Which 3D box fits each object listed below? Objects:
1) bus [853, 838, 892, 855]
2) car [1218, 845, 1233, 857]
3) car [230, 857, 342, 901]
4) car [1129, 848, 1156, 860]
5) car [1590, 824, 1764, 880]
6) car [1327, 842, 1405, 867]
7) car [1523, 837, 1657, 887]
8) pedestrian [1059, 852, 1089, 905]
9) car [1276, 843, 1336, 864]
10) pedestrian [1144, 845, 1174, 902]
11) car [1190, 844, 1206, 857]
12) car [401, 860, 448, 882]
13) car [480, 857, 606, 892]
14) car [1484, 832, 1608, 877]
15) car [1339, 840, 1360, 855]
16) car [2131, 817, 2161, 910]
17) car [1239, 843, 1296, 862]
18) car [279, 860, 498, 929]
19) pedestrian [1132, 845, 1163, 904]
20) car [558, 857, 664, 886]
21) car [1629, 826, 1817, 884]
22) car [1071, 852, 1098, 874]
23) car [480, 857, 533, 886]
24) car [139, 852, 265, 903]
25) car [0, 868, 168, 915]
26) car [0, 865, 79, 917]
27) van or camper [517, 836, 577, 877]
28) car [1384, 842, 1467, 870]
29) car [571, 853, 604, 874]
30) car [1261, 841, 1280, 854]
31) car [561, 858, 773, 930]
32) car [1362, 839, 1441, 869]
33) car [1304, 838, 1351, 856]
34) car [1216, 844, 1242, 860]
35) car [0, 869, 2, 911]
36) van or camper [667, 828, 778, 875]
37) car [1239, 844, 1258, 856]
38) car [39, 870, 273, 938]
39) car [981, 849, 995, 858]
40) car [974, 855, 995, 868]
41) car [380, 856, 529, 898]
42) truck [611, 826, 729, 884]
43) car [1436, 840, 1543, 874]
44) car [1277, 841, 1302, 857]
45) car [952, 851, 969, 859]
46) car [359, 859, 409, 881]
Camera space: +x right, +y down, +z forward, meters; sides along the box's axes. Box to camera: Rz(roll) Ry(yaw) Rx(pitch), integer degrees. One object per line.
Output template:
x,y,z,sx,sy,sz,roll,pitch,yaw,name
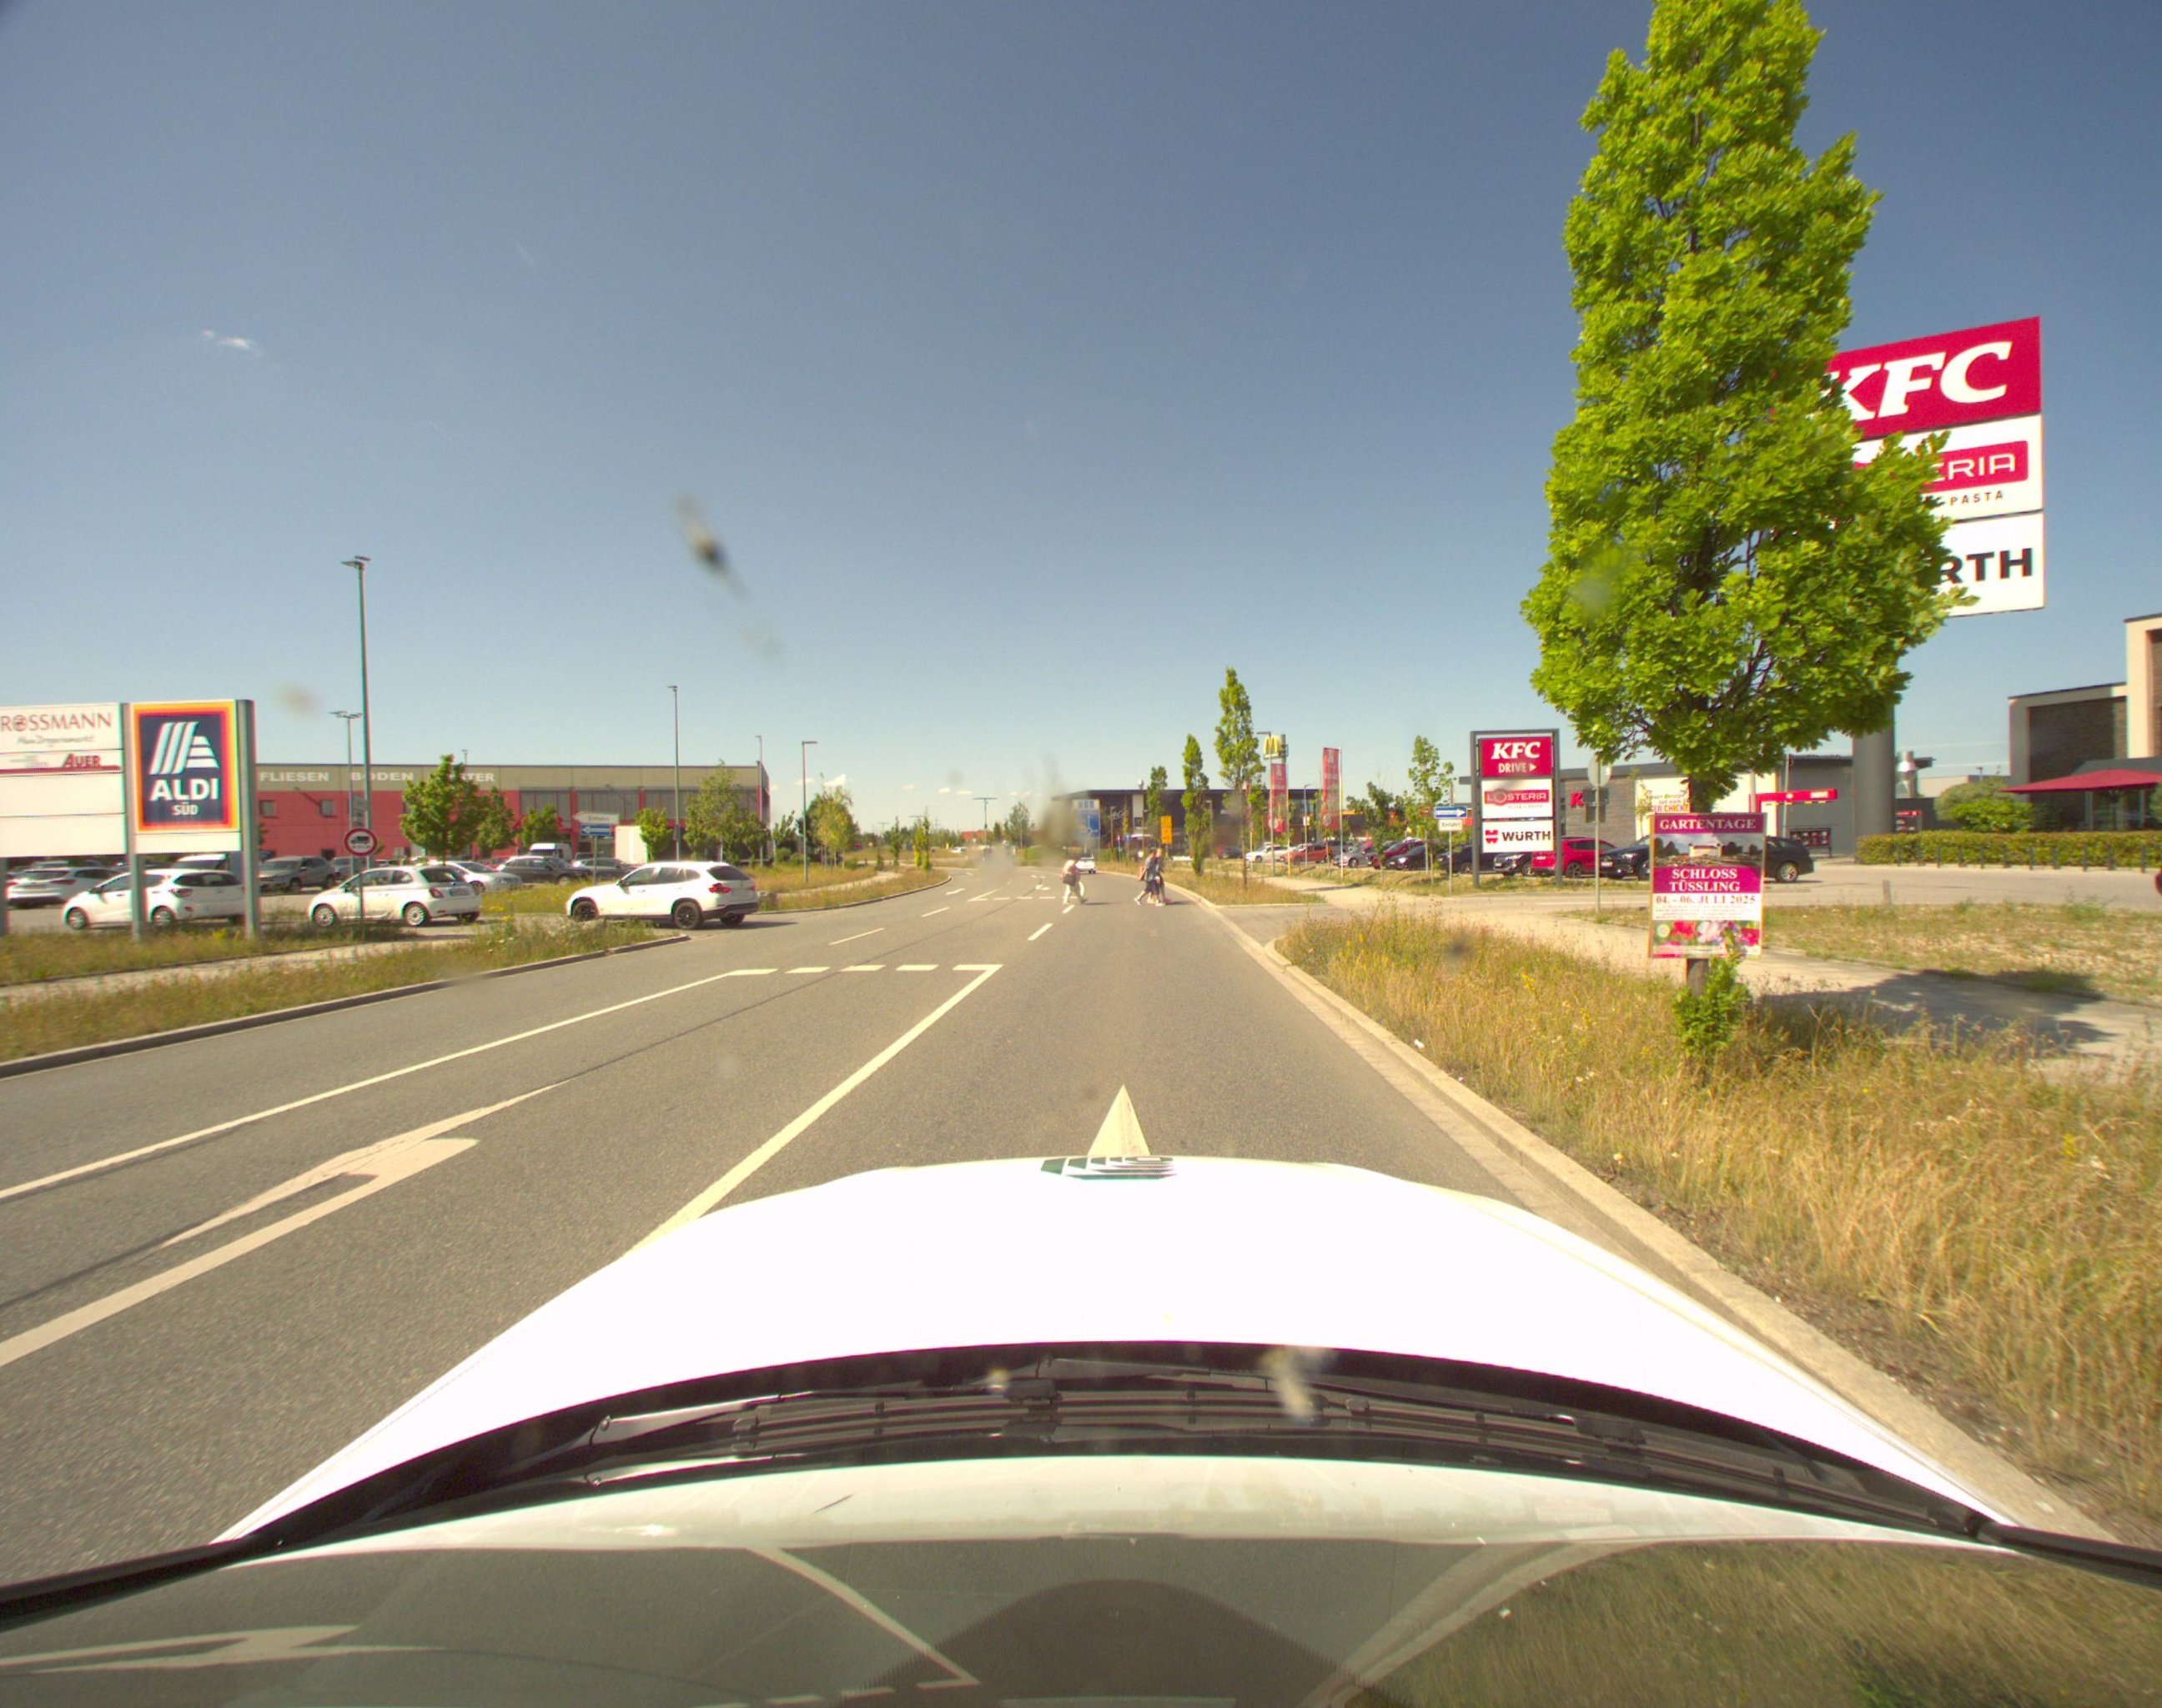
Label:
-43.951,-1.604,172.569,2.768,3.078,12.245,-2,2,12,bus
19.032,-0.421,107.374,1.781,1.434,4.013,-2,0,11,car
-36.144,1.082,37.184,1.837,1.823,4.355,-1,0,-18,car
7.585,0.011,100.815,1.799,1.434,3.973,-2,0,-20,car
21.343,-0.104,29.282,4.972,1.734,1.937,-2,1,-4,car
19.185,0.005,54.895,4.554,1.490,1.863,-2,1,-9,car
20.407,0.293,32.706,4.402,1.734,1.787,-2,1,-7,car
-0.193,0.687,23.189,0.790,1.470,0.949,-1,0,2,pedestrian
17.851,-0.048,64.766,4.209,1.490,1.861,-2,1,-13,car
2.251,0.550,23.644,0.798,1.629,0.805,-1,0,2,pedestrian
15.372,-0.417,106.677,1.781,1.604,4.013,-2,0,11,car
-51.581,1.345,64.040,1.667,1.614,4.054,-1,0,-21,car
-25.116,0.922,38.153,4.567,1.458,1.835,-1,0,-5,car
20.198,0.014,35.488,4.394,1.734,1.790,-2,1,-2,car
28.879,-0.724,87.547,1.769,1.451,4.193,-2,0,23,car
18.618,0.147,11.702,1.773,1.540,4.172,-1,0,3,car
16.527,-0.107,72.143,4.530,1.490,1.861,-2,1,-13,car
-17.265,0.975,20.425,3.967,1.547,1.921,-1,0,6,car
1.866,0.565,22.824,0.806,1.628,0.866,-1,0,2,pedestrian
-25.018,0.930,43.480,4.415,1.383,1.972,-1,0,-4,car
19.852,0.009,25.300,4.397,1.566,1.992,-2,1,-4,car
0.218,0.592,56.853,1.613,1.434,3.787,-1,0,-4,car
-38.929,1.149,55.280,1.839,1.773,4.351,-1,0,-21,car
-38.746,0.967,36.075,1.837,2.064,4.355,-1,0,-18,car
-36.903,1.320,30.341,1.837,1.512,4.355,-1,0,-18,car
-39.653,1.359,29.618,1.916,1.803,4.355,-1,0,-18,car
-45.012,0.195,68.856,2.437,3.271,7.188,-1,0,-19,van or camper
20.163,0.098,47.714,4.156,1.449,1.784,-3,1,-11,car
-41.711,0.807,68.928,1.667,1.671,4.054,-1,0,-21,car
25.678,-0.875,110.295,1.777,1.702,4.022,-2,0,22,car
-9.870,0.939,19.554,4.185,1.547,1.923,-1,0,10,car
19.753,-0.035,50.286,4.147,1.665,1.865,-2,1,-6,car
24.531,-0.689,81.081,4.171,1.635,1.779,-2,0,-21,car
15.030,-0.212,82.533,1.682,1.462,4.193,-2,0,23,car
-42.310,1.423,29.347,1.916,1.617,4.355,-1,0,-18,car
-28.503,-0.206,65.081,7.704,3.468,2.543,-1,0,-14,van or camper
22.298,-0.526,108.514,1.777,1.513,4.021,-2,0,21,car
-23.720,1.247,20.986,3.969,1.547,1.920,-1,0,4,car
-16.492,-0.044,144.347,1.987,1.440,4.000,-2,1,0,car
-11.149,0.820,94.103,1.622,1.434,3.767,-1,0,-19,car
-25.275,0.898,32.964,4.589,1.512,1.839,-1,0,1,car
-26.153,0.034,52.309,2.300,3.464,7.524,-1,0,14,truck
20.001,0.135,40.024,4.378,1.449,1.797,-2,1,10,car
21.849,-0.498,85.223,1.769,1.579,4.193,-2,0,23,car
-23.628,0.150,159.195,2.006,1.464,3.962,-2,1,-29,car
-54.493,1.216,63.768,1.667,1.614,4.054,-1,0,-21,car
